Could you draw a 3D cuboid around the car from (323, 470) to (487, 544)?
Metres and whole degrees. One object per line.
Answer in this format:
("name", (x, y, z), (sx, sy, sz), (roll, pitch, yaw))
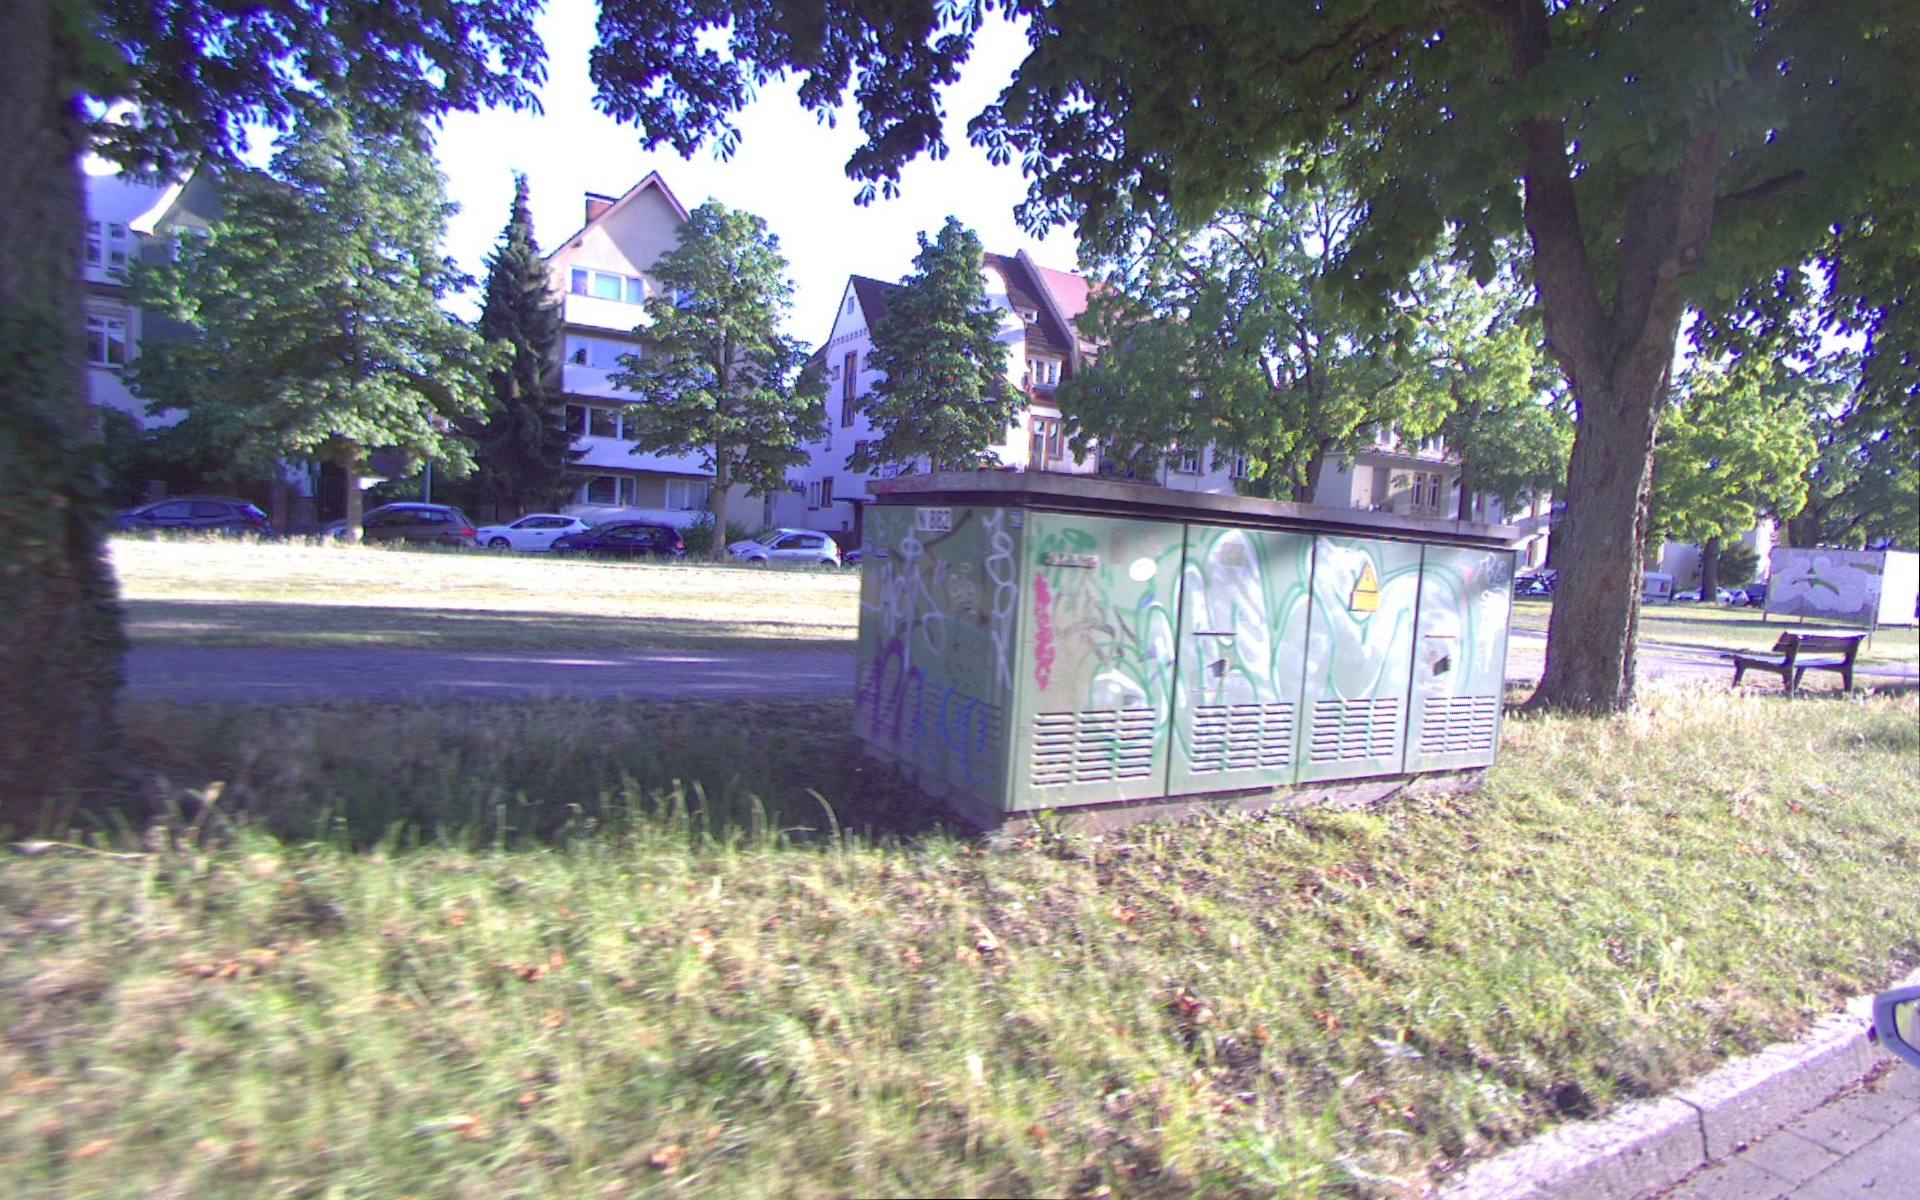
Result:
("car", (-15.848, -2.658, 28.873), (3.950, 1.706, 1.985), (3, 5, -28))

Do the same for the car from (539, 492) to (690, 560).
("car", (-10.966, -2.339, 31.884), (4.203, 1.744, 1.985), (3, 5, -29))

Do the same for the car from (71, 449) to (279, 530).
("car", (-20.497, -2.875, 26.461), (3.950, 1.706, 1.985), (3, 5, -28))

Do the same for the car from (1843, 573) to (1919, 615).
("car", (77.210, -0.480, 83.740), (6.809, 3.033, 3.146), (3, 2, -29))

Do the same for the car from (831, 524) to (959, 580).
("car", (-2.399, -1.770, 37.070), (4.203, 1.671, 1.985), (3, 5, -29))

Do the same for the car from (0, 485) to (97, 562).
("car", (-27.819, -2.289, 29.023), (3.947, 2.041, 1.987), (2, 5, -26))

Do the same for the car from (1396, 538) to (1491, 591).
("car", (30.120, -2.191, 62.538), (5.750, 2.961, 2.426), (3, 2, -30))

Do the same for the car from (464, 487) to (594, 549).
("car", (-15.329, -2.903, 35.728), (3.956, 1.807, 1.982), (2, 5, -32))

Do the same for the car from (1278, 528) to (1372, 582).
("car", (20.724, -2.551, 57.055), (5.125, 2.708, 1.984), (2, 4, -30))

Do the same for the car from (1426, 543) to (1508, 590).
("car", (27.368, -1.799, 54.174), (4.262, 2.205, 1.677), (2, 4, -29))

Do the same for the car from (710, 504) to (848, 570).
("car", (-6.238, -2.165, 34.605), (4.203, 1.885, 1.985), (3, 5, -29))

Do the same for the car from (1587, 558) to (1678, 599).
("car", (42.411, -1.371, 63.349), (5.393, 2.266, 2.522), (1, 4, -30))

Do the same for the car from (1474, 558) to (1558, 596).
("car", (31.397, -1.300, 56.751), (4.430, 1.817, 1.984), (2, 4, -29))

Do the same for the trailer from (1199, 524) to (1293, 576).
("trailer", (15.340, -2.683, 53.899), (4.667, 2.460, 1.984), (2, 4, -30))
